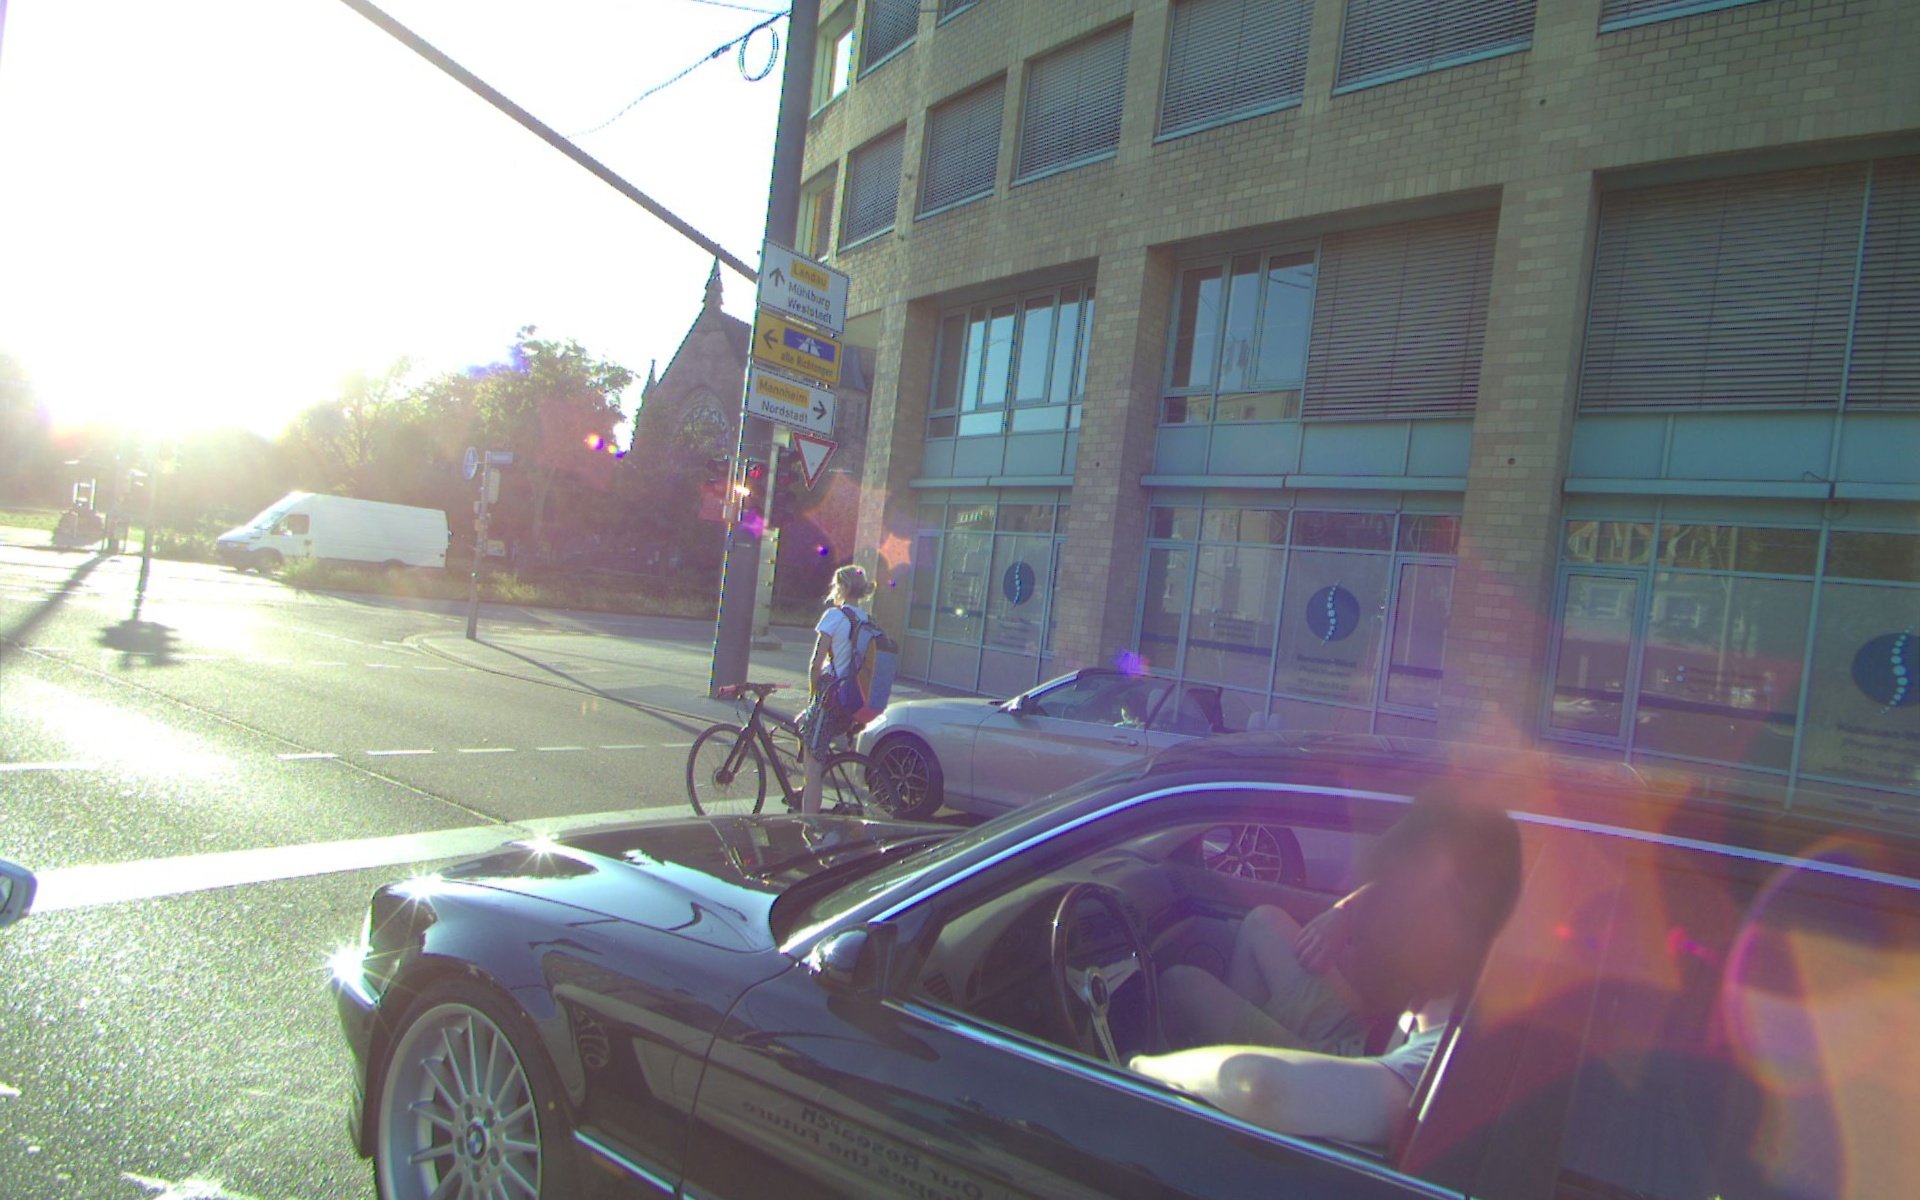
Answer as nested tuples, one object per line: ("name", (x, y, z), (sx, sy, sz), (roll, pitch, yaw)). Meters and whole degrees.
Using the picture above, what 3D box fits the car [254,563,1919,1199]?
("car", (0.884, 0.933, 2.010), (4.661, 1.402, 1.997), (7, -1, 32))

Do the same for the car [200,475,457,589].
("car", (-21.307, -2.196, 34.420), (2.059, 2.862, 7.017), (7, 0, 33))

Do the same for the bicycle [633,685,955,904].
("bicycle", (-1.022, 1.083, 6.011), (1.838, 0.884, 0.634), (7, 0, 30))

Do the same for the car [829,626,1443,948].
("car", (1.240, 1.196, 7.686), (4.157, 1.401, 1.747), (7, -1, 31))

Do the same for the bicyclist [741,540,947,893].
("bicyclist", (-0.666, 0.636, 5.833), (0.764, 1.843, 0.634), (7, 1, 30))
